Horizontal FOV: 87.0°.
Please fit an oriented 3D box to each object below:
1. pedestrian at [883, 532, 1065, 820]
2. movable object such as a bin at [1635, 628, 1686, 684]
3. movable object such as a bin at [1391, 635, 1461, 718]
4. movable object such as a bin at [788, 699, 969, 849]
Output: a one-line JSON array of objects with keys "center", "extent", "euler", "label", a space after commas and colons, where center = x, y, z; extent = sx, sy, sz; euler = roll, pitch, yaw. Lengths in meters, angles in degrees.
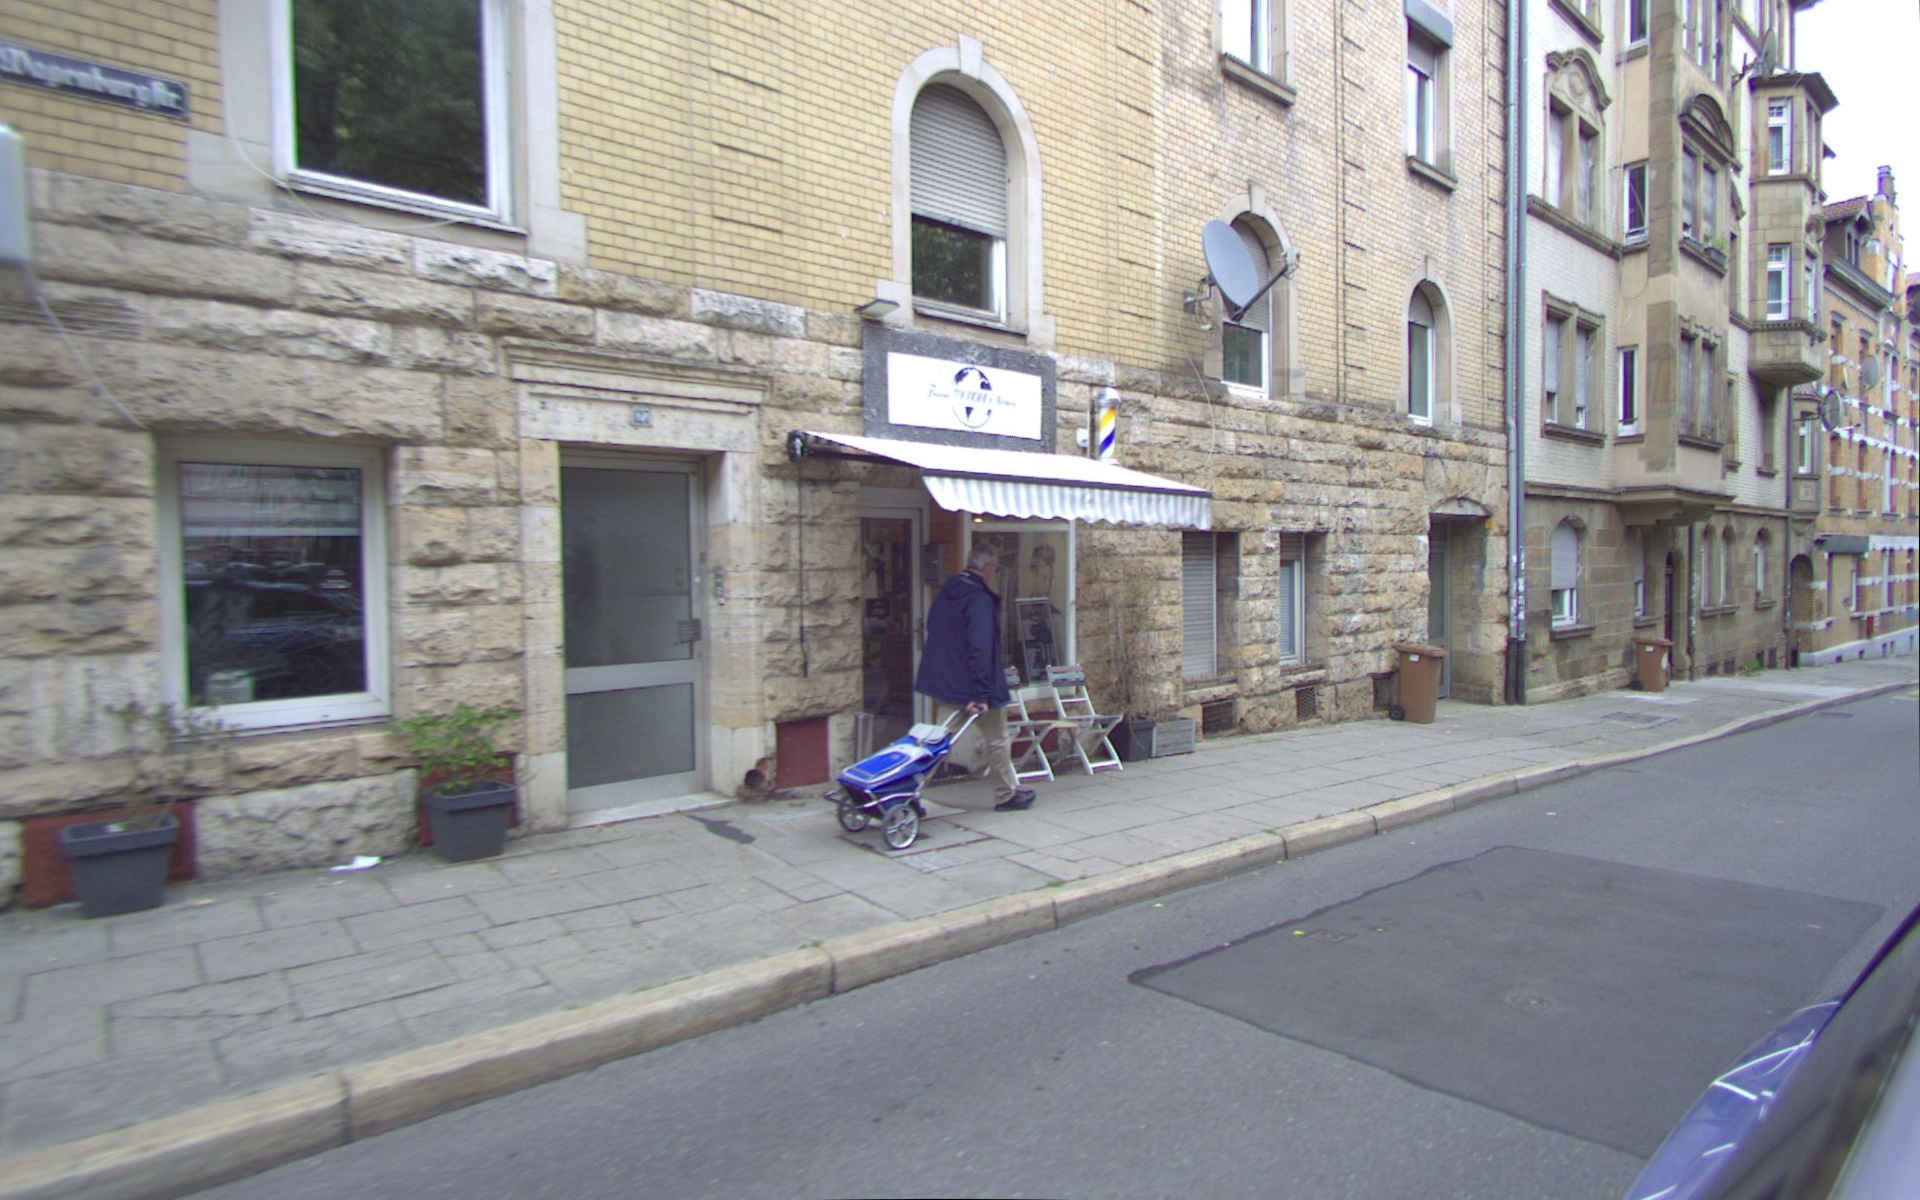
[{"center": [0.089, 0.440, 6.568], "extent": [0.843, 1.713, 0.753], "euler": [1, 2, -39], "label": "pedestrian"}, {"center": [12.138, 0.963, 17.530], "extent": [0.552, 0.915, 0.595], "euler": [0, 0, -39], "label": "movable object such as a bin"}, {"center": [5.616, 0.906, 12.197], "extent": [0.494, 0.915, 0.595], "euler": [-4, 3, -39], "label": "movable object such as a bin"}, {"center": [-0.472, 0.979, 5.912], "extent": [0.843, 0.677, 0.609], "euler": [1, 2, -40], "label": "movable object such as a bin"}]
